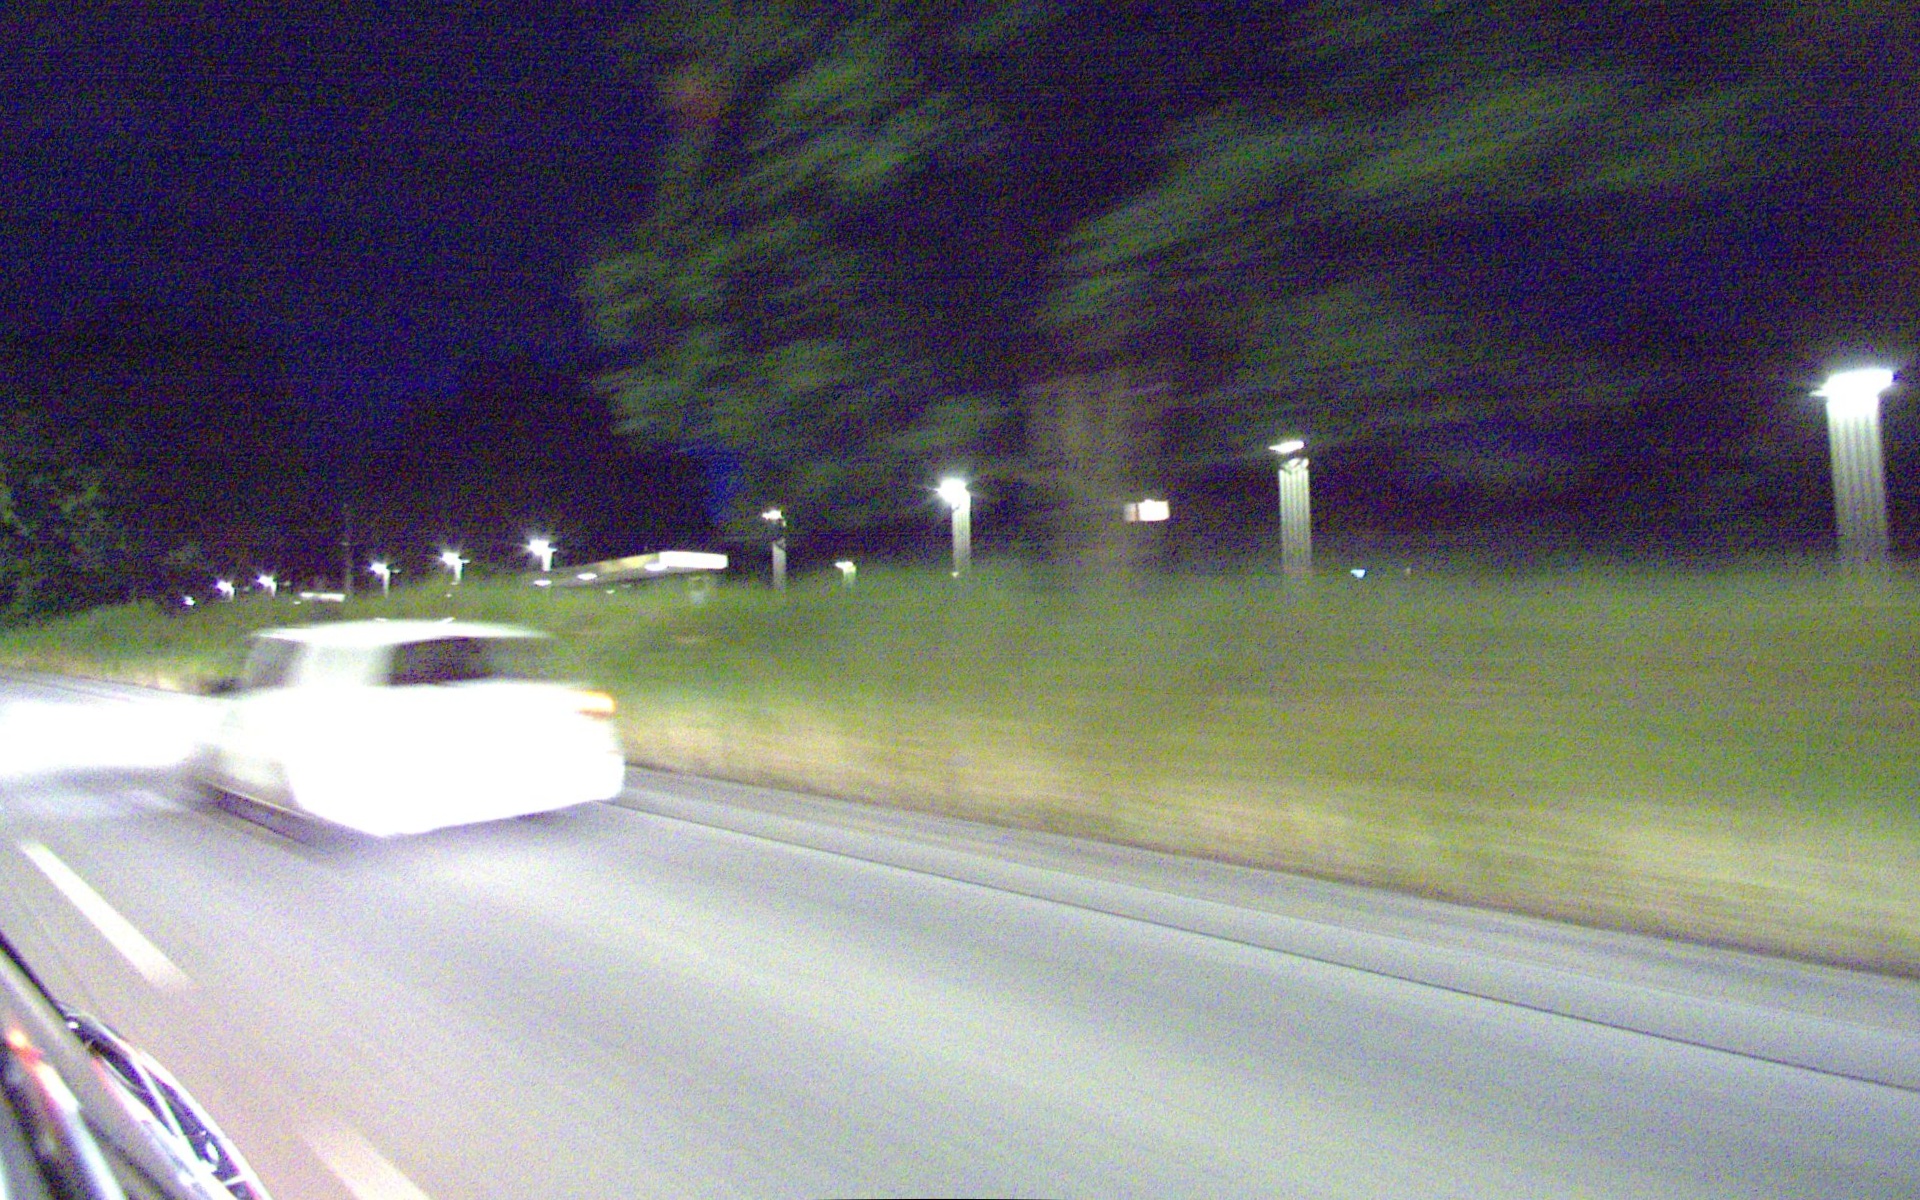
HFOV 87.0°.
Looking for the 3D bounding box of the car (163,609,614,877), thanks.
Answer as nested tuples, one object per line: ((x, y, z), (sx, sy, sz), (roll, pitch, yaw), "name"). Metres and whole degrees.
((-4.405, 0.831, 7.540), (3.997, 1.468, 1.670), (-1, -1, 41), "car")
